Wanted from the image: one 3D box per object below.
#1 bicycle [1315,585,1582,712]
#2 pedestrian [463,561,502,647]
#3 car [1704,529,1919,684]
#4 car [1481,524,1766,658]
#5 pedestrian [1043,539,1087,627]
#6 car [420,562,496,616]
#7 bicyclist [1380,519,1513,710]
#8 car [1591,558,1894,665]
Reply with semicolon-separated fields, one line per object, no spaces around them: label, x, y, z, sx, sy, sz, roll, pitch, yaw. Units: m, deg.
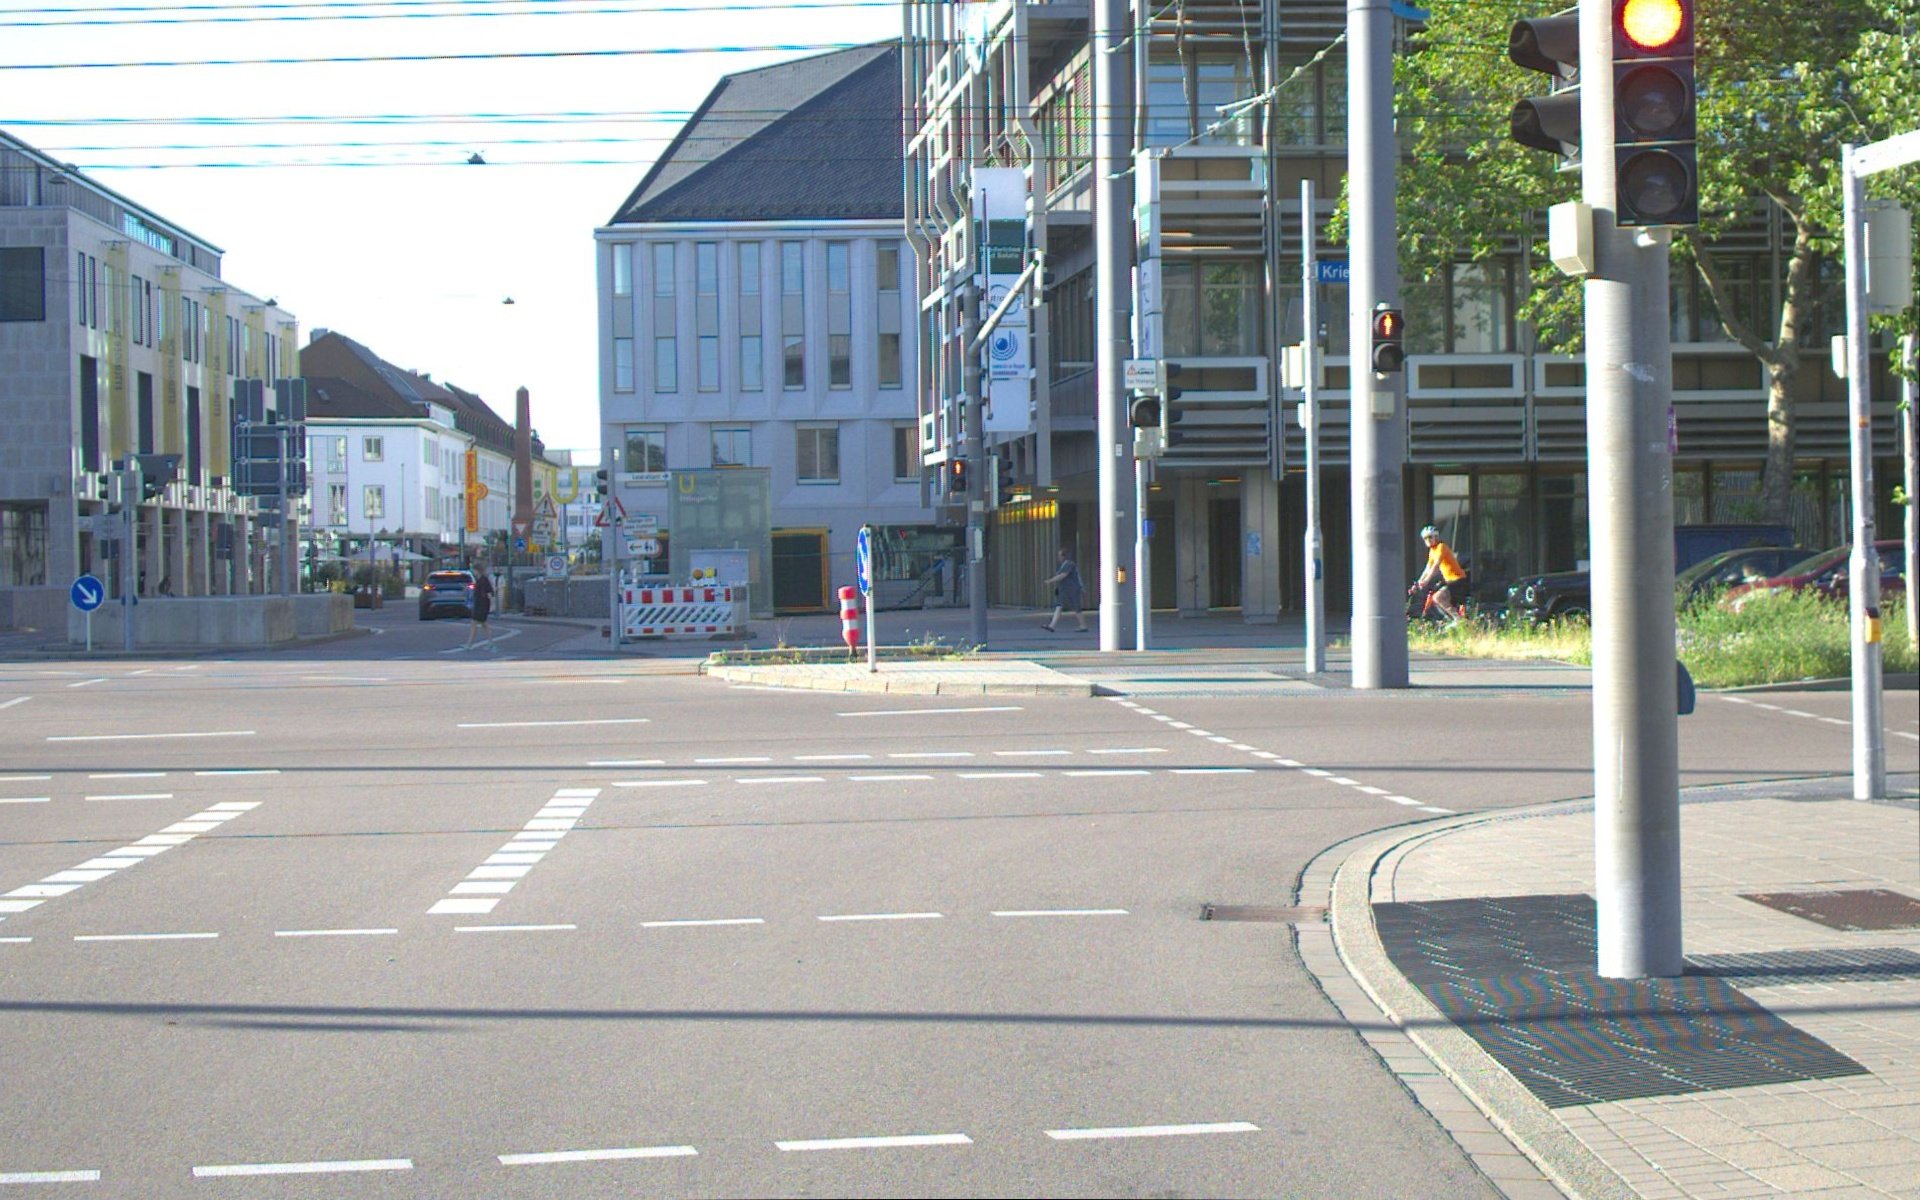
bicycle;6.694;0.648;47.146;3.490;1.653;0.932;-1;1;-9
pedestrian;-9.281;0.067;66.824;0.663;1.652;0.755;-1;1;-3
car;12.289;0.087;46.409;3.986;2.007;2.000;1;0;-3
car;10.346;-0.144;53.777;3.986;2.007;2.000;1;0;-3
pedestrian;2.003;-0.327;65.447;0.729;1.652;0.651;-1;1;-7
car;-15.809;-0.355;108.421;2.199;1.601;4.327;-1;1;-6
bicyclist;6.663;0.189;47.140;1.567;2.571;0.932;-1;1;-9
car;11.495;0.157;50.661;3.986;1.503;1.868;0;1;-3
